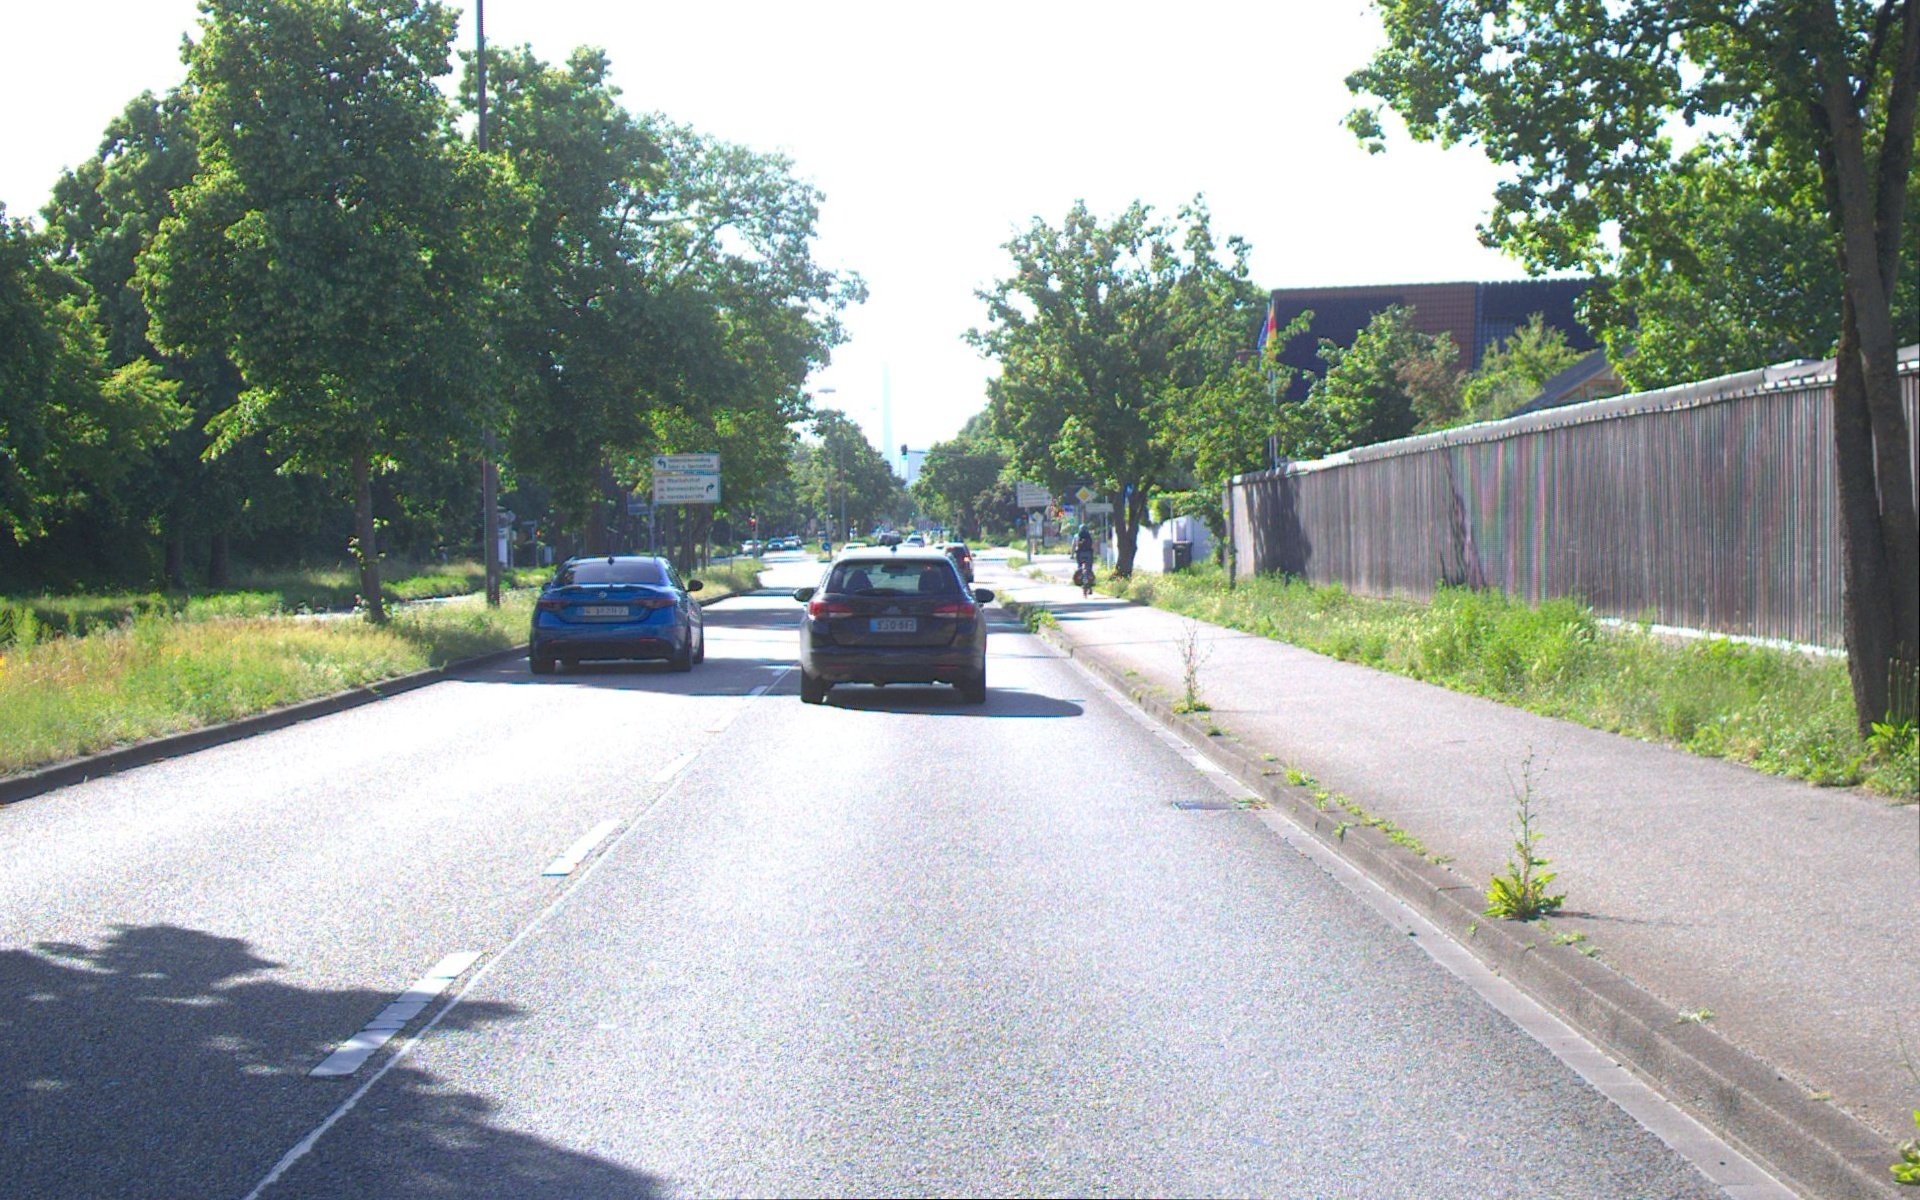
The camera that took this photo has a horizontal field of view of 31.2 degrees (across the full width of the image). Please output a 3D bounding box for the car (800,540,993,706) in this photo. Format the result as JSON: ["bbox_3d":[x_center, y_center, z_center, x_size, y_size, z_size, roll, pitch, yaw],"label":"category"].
[{"bbox_3d":[-0.606,0.192,33.414,1.755,1.504,3.809,-1,1,-1],"label":"car"}]

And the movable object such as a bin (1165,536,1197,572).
[{"bbox_3d":[7.722,-1.600,120.197,1.002,1.201,1.062,-3,0,7],"label":"movable object such as a bin"}]

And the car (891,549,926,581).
[{"bbox_3d":[-2.587,-1.753,173.707,1.732,1.579,3.840,1,1,-1],"label":"car"}]

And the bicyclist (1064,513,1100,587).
[{"bbox_3d":[2.807,-1.150,78.921,0.630,1.627,0.981,-4,1,7],"label":"bicyclist"}]

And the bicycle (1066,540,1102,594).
[{"bbox_3d":[2.846,-0.767,78.950,0.574,1.151,2.140,-4,1,7],"label":"bicycle"}]

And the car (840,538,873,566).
[{"bbox_3d":[-6.010,-2.798,199.903,1.824,1.609,3.840,1,1,-1],"label":"car"}]

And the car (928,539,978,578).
[{"bbox_3d":[-0.268,-1.616,133.123,1.732,1.454,3.840,-1,1,3],"label":"car"}]

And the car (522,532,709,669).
[{"bbox_3d":[-4.157,-0.015,42.031,1.888,1.547,4.000,-1,1,-1],"label":"car"}]
